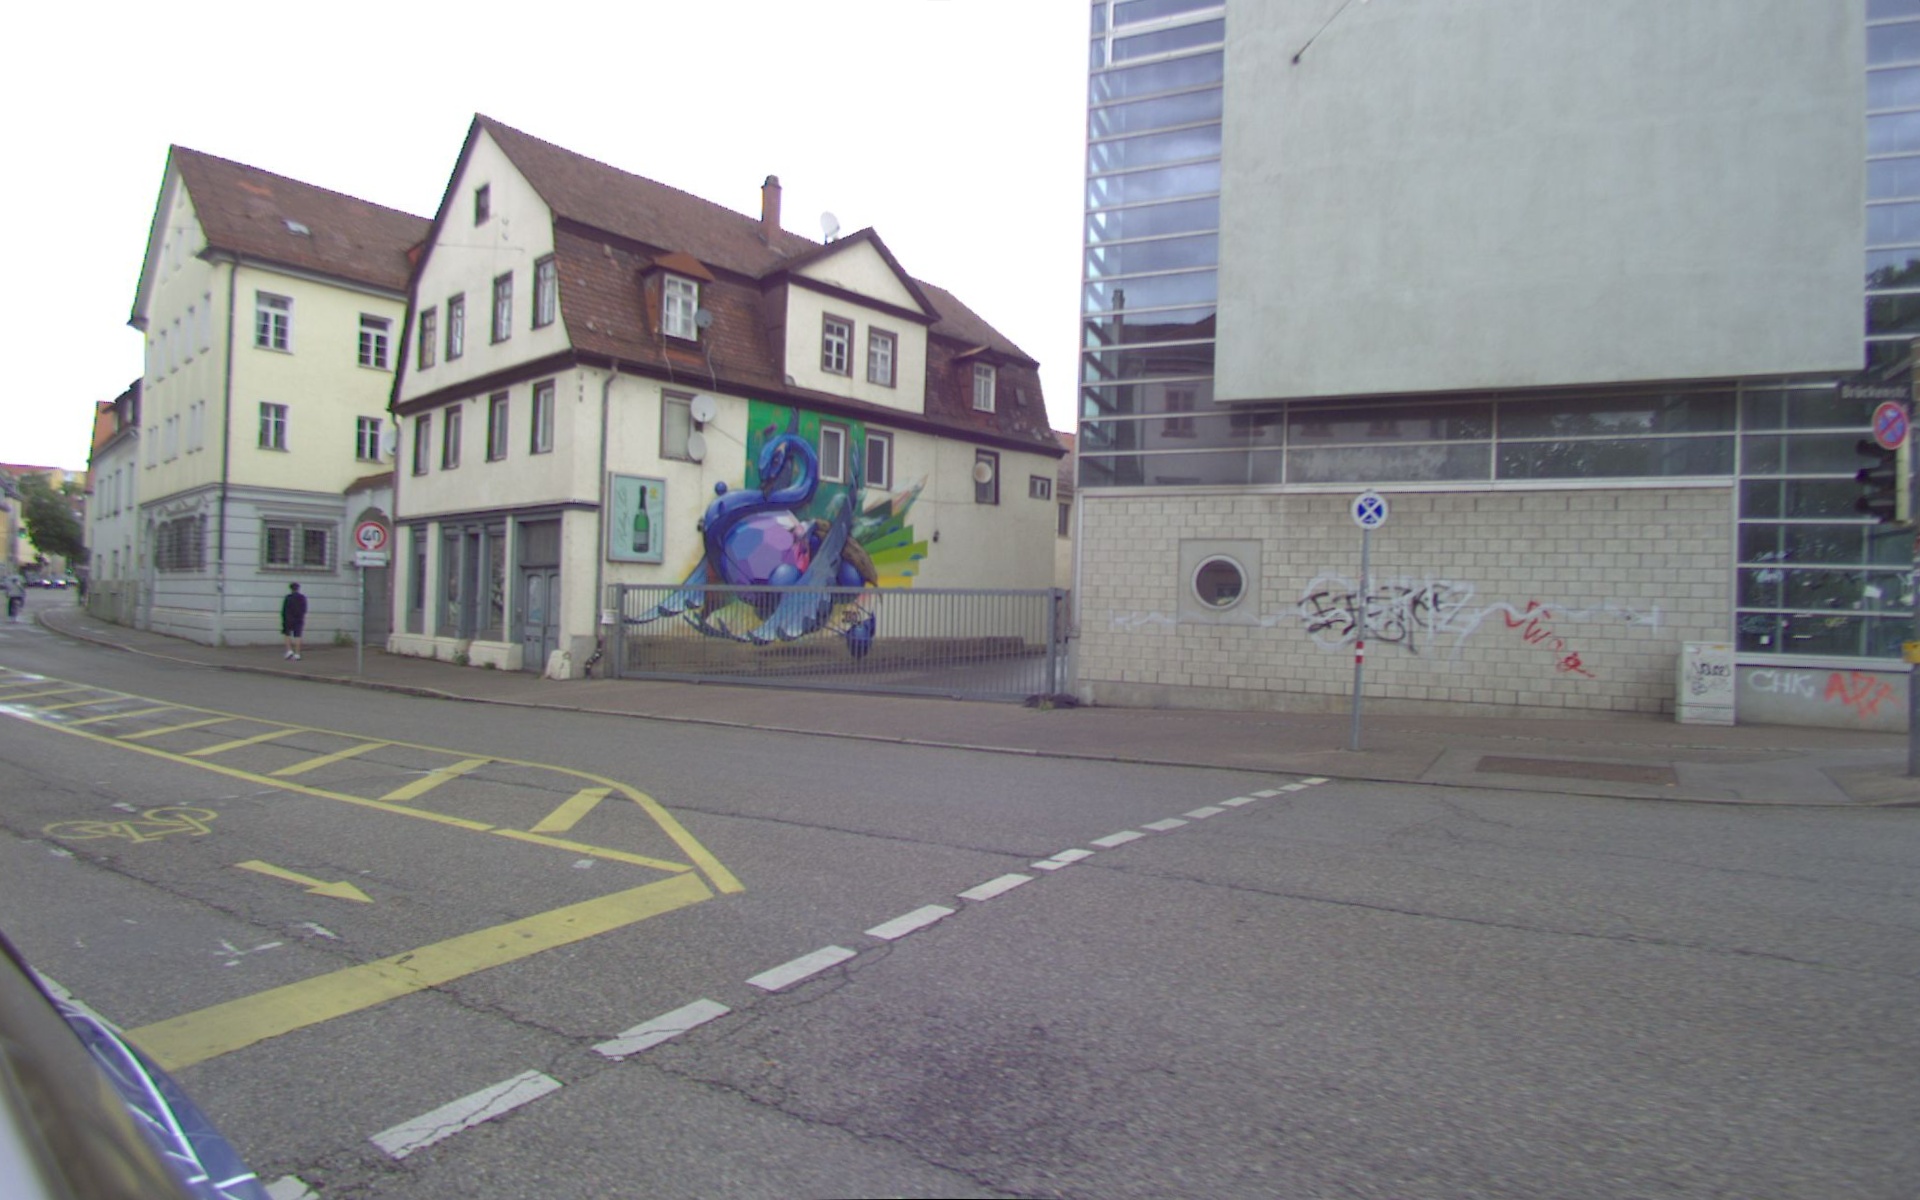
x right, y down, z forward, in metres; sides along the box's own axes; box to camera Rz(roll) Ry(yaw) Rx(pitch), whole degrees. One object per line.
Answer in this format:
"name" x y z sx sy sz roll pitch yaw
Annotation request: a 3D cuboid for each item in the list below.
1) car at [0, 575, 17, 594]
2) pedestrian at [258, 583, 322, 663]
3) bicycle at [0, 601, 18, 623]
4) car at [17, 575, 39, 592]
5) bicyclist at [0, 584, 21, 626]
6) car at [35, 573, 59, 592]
"car" -105.899 -1.702 112.094 1.969 2.029 4.006 2 -1 -41
"pedestrian" -16.542 0.558 24.987 1.090 1.900 1.044 -1 -1 40
"bicycle" -39.203 0.494 41.715 0.534 0.899 1.882 2 -1 -42
"car" -118.965 -2.076 129.193 1.969 2.029 4.006 2 -1 -41
"bicyclist" -39.177 0.200 41.632 0.714 1.714 0.812 2 -1 -42
"car" -107.061 -2.031 118.763 1.969 2.029 4.006 2 -1 -41
